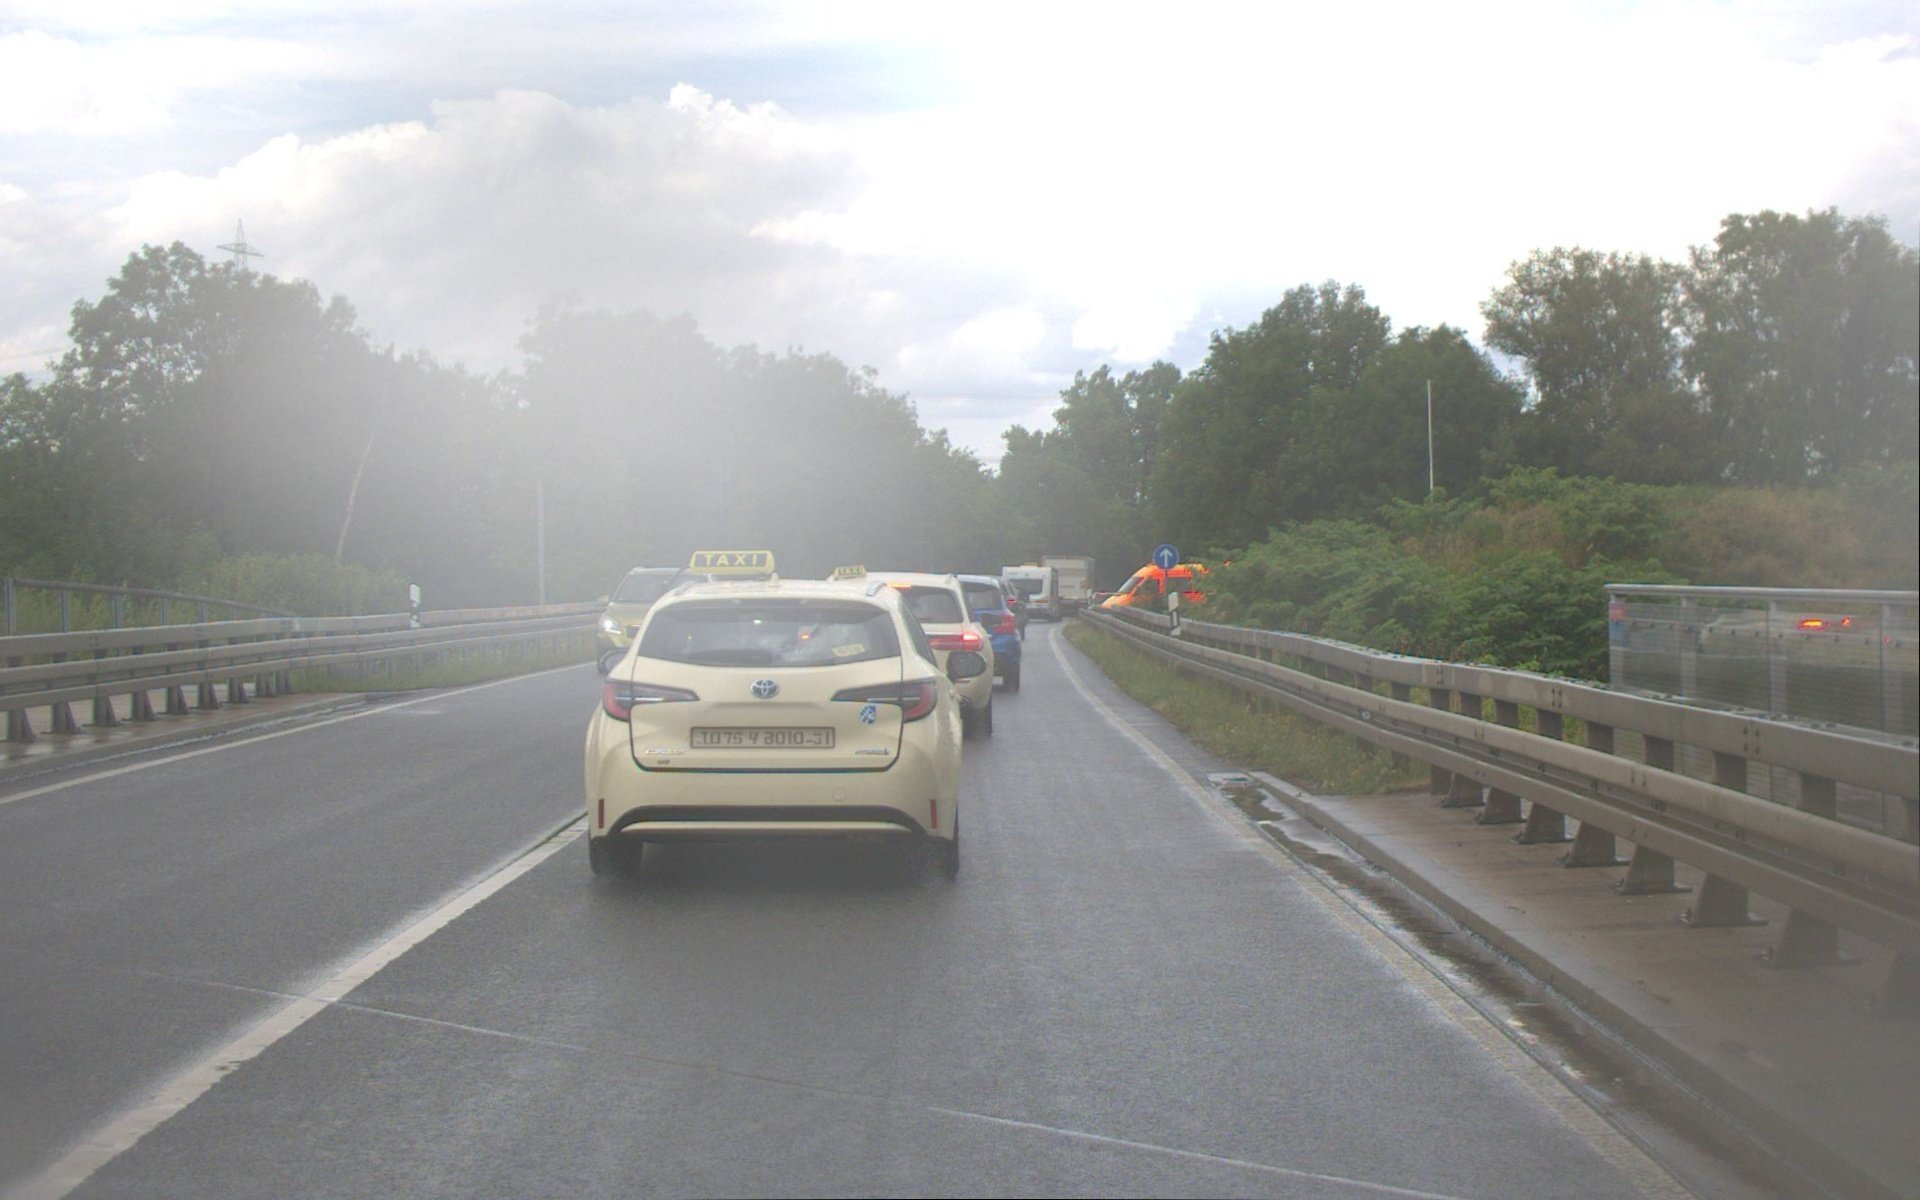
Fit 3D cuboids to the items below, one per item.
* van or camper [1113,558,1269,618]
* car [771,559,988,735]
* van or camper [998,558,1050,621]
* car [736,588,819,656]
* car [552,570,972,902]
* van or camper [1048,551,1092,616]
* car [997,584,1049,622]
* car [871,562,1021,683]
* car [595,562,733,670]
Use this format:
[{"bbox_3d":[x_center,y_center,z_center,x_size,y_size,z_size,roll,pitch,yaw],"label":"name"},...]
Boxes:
[{"bbox_3d":[8.955,-0.457,133.471,5.676,2.234,2.021,1,1,-14],"label":"van or camper"},{"bbox_3d":[-0.698,0.381,31.775,1.854,1.438,4.171,1,1,0],"label":"car"},{"bbox_3d":[3.003,-0.522,160.804,2.333,2.854,6.306,1,1,1],"label":"van or camper"},{"bbox_3d":[-4.153,0.475,78.728,1.696,1.427,4.323,1,1,0],"label":"car"},{"bbox_3d":[-0.889,0.589,17.429,1.854,1.389,4.171,1,1,0],"label":"car"},{"bbox_3d":[6.124,-0.958,192.048,2.333,3.550,6.306,1,1,1],"label":"van or camper"},{"bbox_3d":[2.524,0.101,137.208,1.854,1.438,4.170,1,1,4],"label":"car"},{"bbox_3d":[-0.180,0.255,45.294,1.854,1.438,4.171,1,1,0],"label":"car"},{"bbox_3d":[-4.351,0.241,51.013,1.713,1.511,3.860,1,0,0],"label":"car"}]
